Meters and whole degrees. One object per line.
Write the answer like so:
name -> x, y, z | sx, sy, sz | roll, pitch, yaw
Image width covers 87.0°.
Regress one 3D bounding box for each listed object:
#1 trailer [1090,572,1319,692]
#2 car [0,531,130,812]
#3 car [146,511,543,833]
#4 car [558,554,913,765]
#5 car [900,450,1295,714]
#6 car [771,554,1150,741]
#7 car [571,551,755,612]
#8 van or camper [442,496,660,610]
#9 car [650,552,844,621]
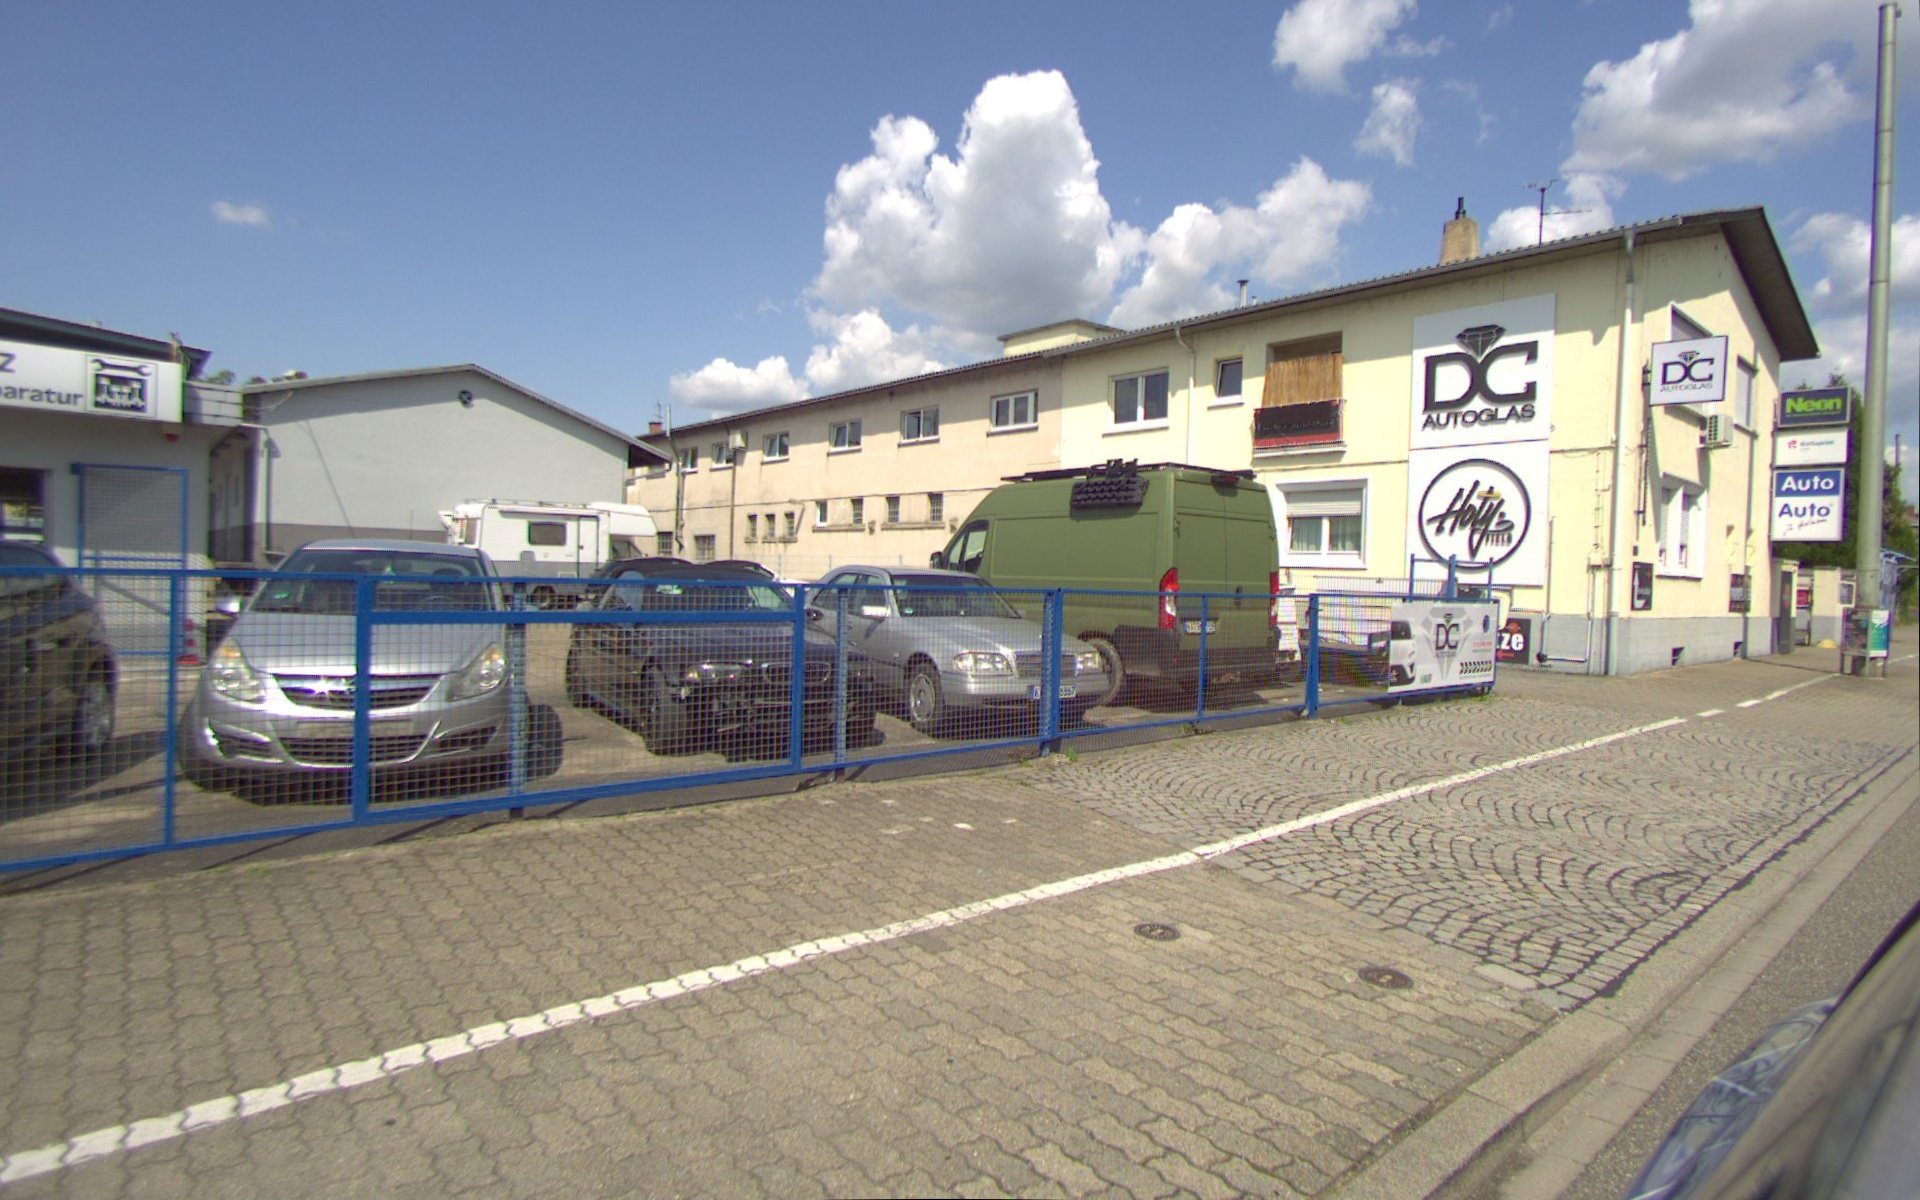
trailer -> 3.227, 0.346, 13.690 | 1.280, 1.349, 2.789 | -1, 4, -40
car -> -5.672, 0.372, 4.746 | 1.675, 1.460, 4.009 | 1, 2, -23
car -> -3.889, 0.263, 6.935 | 1.714, 1.515, 4.008 | 1, 2, -25
car -> -2.176, 0.318, 8.826 | 1.784, 1.372, 4.004 | 0, 2, -32
car -> 1.464, -0.310, 12.442 | 2.112, 2.604, 4.550 | 0, 3, -38
car -> -0.234, 0.290, 10.166 | 1.785, 1.449, 4.200 | 0, 2, -33
car -> -7.568, -0.483, 25.952 | 4.110, 1.405, 1.925 | -1, 3, -42
van or camper -> -10.990, -1.244, 27.417 | 4.978, 2.807, 2.311 | -1, 3, -44
car -> -4.882, -0.329, 23.528 | 4.110, 1.433, 1.756 | -1, 3, -42
